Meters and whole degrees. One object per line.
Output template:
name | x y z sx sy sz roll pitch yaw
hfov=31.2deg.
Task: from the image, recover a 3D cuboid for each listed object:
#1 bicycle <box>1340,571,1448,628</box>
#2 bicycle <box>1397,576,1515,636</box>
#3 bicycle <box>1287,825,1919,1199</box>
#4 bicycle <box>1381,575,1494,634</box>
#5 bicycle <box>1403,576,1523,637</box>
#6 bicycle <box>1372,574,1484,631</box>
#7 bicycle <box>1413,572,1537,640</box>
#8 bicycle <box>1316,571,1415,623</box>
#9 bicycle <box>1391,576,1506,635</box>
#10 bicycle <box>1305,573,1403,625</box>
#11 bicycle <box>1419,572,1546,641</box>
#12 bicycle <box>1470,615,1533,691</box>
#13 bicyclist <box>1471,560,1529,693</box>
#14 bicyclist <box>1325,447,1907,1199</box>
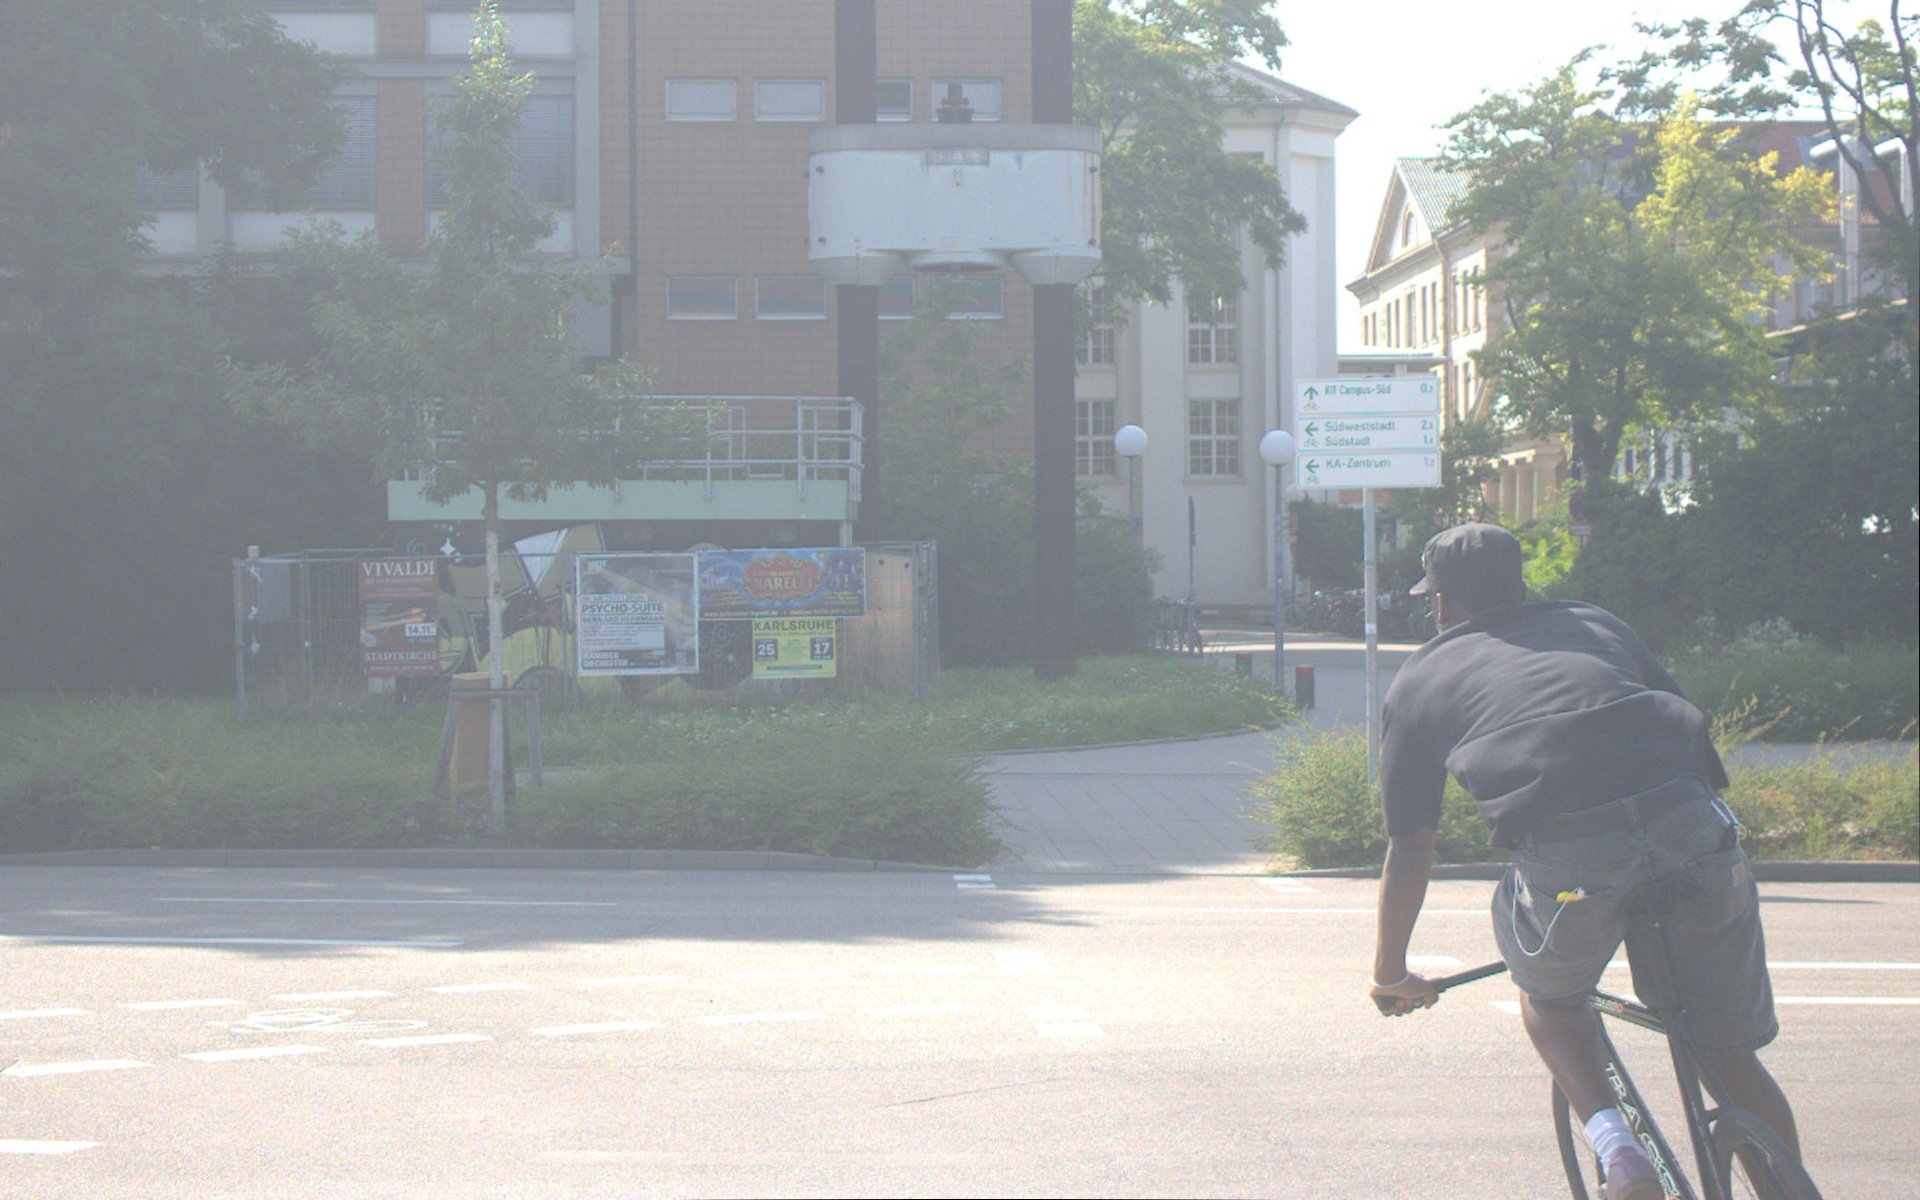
bicycle | 10.205 -0.018 80.840 2.427 1.277 0.720 2 0 3
bicycle | 10.704 0.132 74.291 2.427 1.219 0.720 2 0 3
bicycle | 1.122 0.963 6.002 0.772 0.972 2.150 0 1 -3
bicycle | 10.692 0.096 77.085 2.427 1.235 0.720 2 0 3
bicycle | 10.675 0.133 73.016 2.427 1.219 0.720 2 0 3
bicycle | 10.630 0.048 78.140 2.427 1.225 0.720 2 0 3
bicycle | 10.554 0.124 70.476 2.427 1.314 0.720 2 0 3
bicycle | 10.324 -0.077 87.627 2.427 1.258 0.720 2 0 3
bicycle | 10.811 0.124 76.086 2.427 1.230 0.720 2 0 3
bicycle | 10.171 -0.032 88.731 2.427 1.276 0.720 2 0 3
bicycle | 10.525 0.132 69.340 2.427 1.314 0.720 2 0 3
bicycle | 6.582 0.639 41.813 0.673 0.876 1.401 0 1 6
bicyclist | 6.564 0.310 41.814 0.650 1.596 0.919 0 0 7
bicyclist | 1.107 0.539 6.000 0.772 1.573 0.990 0 0 -3
